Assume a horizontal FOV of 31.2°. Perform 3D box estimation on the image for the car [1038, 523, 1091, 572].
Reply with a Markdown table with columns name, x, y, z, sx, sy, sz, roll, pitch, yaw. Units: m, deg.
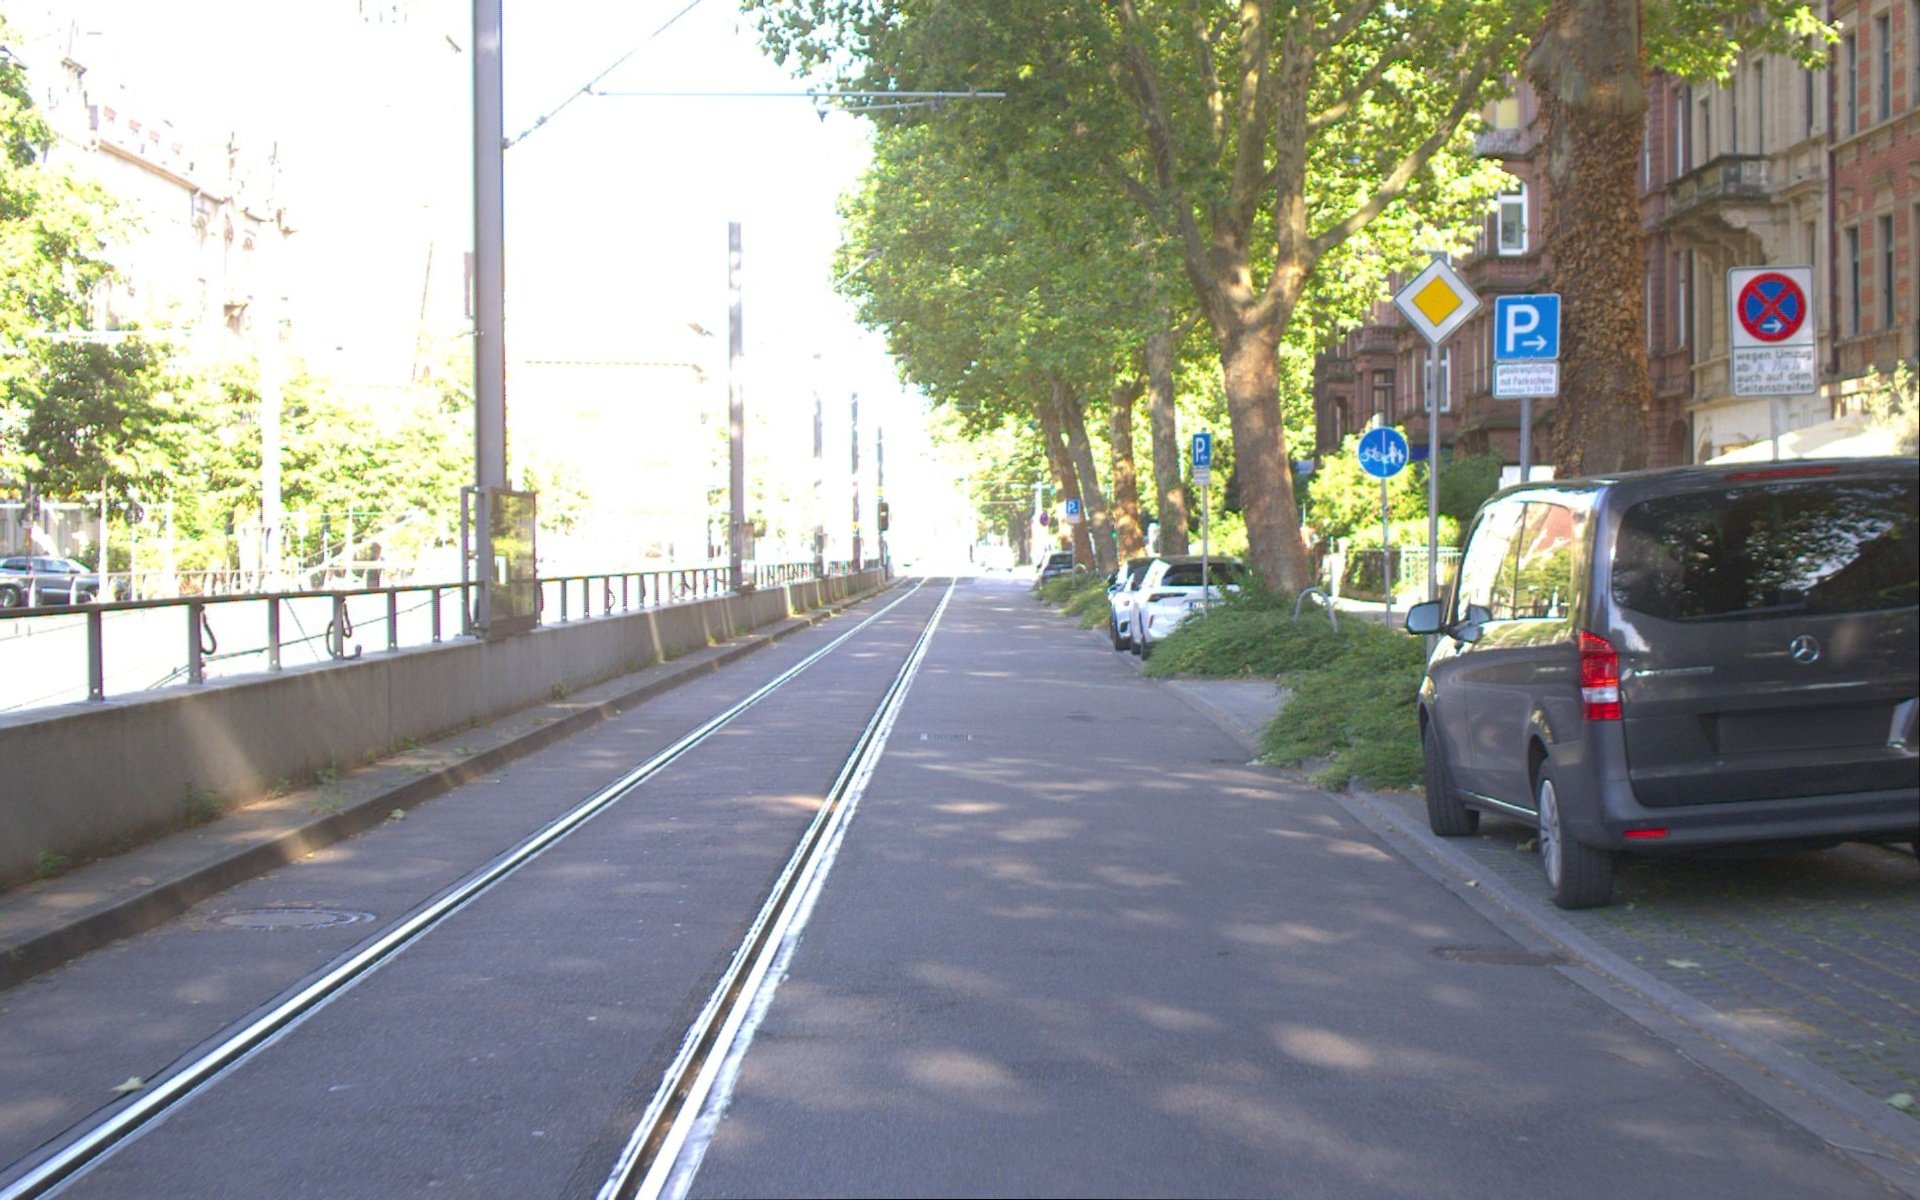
| name | x | y | z | sx | sy | sz | roll | pitch | yaw |
| --- | --- | --- | --- | --- | --- | --- | --- | --- | --- |
| car | 3.588 | -1.815 | 118.548 | 1.616 | 1.581 | 4.417 | -2 | 1 | 0 |

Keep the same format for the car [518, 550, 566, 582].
| name | x | y | z | sx | sy | sz | roll | pitch | yaw |
| --- | --- | --- | --- | --- | --- | --- | --- | --- | --- |
| car | -21.328 | -1.739 | 175.375 | 1.716 | 1.550 | 4.510 | 1 | 1 | 2 |

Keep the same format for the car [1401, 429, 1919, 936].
| name | x | y | z | sx | sy | sz | roll | pitch | yaw |
| --- | --- | --- | --- | --- | --- | --- | --- | --- | --- |
| car | 3.527 | 0.239 | 16.508 | 1.993 | 2.006 | 5.203 | -2 | 2 | -1 |

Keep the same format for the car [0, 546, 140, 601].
| name | x | y | z | sx | sy | sz | roll | pitch | yaw |
| --- | --- | --- | --- | --- | --- | --- | --- | --- | --- |
| car | -27.211 | -0.817 | 105.131 | 3.986 | 1.619 | 1.826 | 0 | 1 | -8 |

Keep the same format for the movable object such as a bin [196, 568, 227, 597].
| name | x | y | z | sx | sy | sz | roll | pitch | yaw |
| --- | --- | --- | --- | --- | --- | --- | --- | --- | --- |
| movable object such as a bin | -24.611 | -0.591 | 113.102 | 0.896 | 0.916 | 0.784 | 1 | 1 | -5 |

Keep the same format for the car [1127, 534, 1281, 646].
| name | x | y | z | sx | sy | sz | roll | pitch | yaw |
| --- | --- | --- | --- | --- | --- | --- | --- | --- | --- |
| car | 3.411 | -0.178 | 48.836 | 1.802 | 1.472 | 4.647 | -1 | 1 | 0 |

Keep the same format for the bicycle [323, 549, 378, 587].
| name | x | y | z | sx | sy | sz | roll | pitch | yaw |
| --- | --- | --- | --- | --- | --- | --- | --- | --- | --- |
| bicycle | -20.940 | -1.112 | 118.079 | 1.731 | 1.275 | 0.599 | -1 | 1 | 7 |

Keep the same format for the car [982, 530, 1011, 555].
| name | x | y | z | sx | sy | sz | roll | pitch | yaw |
| --- | --- | --- | --- | --- | --- | --- | --- | --- | --- |
| car | 2.302 | -3.628 | 216.220 | 1.745 | 1.457 | 3.645 | 1 | 2 | -1 |

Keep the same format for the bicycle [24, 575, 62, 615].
| name | x | y | z | sx | sy | sz | roll | pitch | yaw |
| --- | --- | --- | --- | --- | --- | --- | --- | --- | --- |
| bicycle | -24.379 | -0.132 | 91.403 | 0.454 | 1.002 | 1.944 | 1 | -2 | -31 |

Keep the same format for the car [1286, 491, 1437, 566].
| name | x | y | z | sx | sy | sz | roll | pitch | yaw |
| --- | --- | --- | --- | --- | --- | --- | --- | --- | --- |
| car | 12.087 | -2.161 | 103.739 | 4.176 | 2.006 | 2.000 | -4 | 1 | -1 |

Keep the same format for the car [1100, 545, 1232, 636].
| name | x | y | z | sx | sy | sz | roll | pitch | yaw |
| --- | --- | --- | --- | --- | --- | --- | --- | --- | --- |
| car | 3.205 | -0.175 | 54.062 | 1.830 | 1.322 | 4.000 | -1 | 1 | 0 |
